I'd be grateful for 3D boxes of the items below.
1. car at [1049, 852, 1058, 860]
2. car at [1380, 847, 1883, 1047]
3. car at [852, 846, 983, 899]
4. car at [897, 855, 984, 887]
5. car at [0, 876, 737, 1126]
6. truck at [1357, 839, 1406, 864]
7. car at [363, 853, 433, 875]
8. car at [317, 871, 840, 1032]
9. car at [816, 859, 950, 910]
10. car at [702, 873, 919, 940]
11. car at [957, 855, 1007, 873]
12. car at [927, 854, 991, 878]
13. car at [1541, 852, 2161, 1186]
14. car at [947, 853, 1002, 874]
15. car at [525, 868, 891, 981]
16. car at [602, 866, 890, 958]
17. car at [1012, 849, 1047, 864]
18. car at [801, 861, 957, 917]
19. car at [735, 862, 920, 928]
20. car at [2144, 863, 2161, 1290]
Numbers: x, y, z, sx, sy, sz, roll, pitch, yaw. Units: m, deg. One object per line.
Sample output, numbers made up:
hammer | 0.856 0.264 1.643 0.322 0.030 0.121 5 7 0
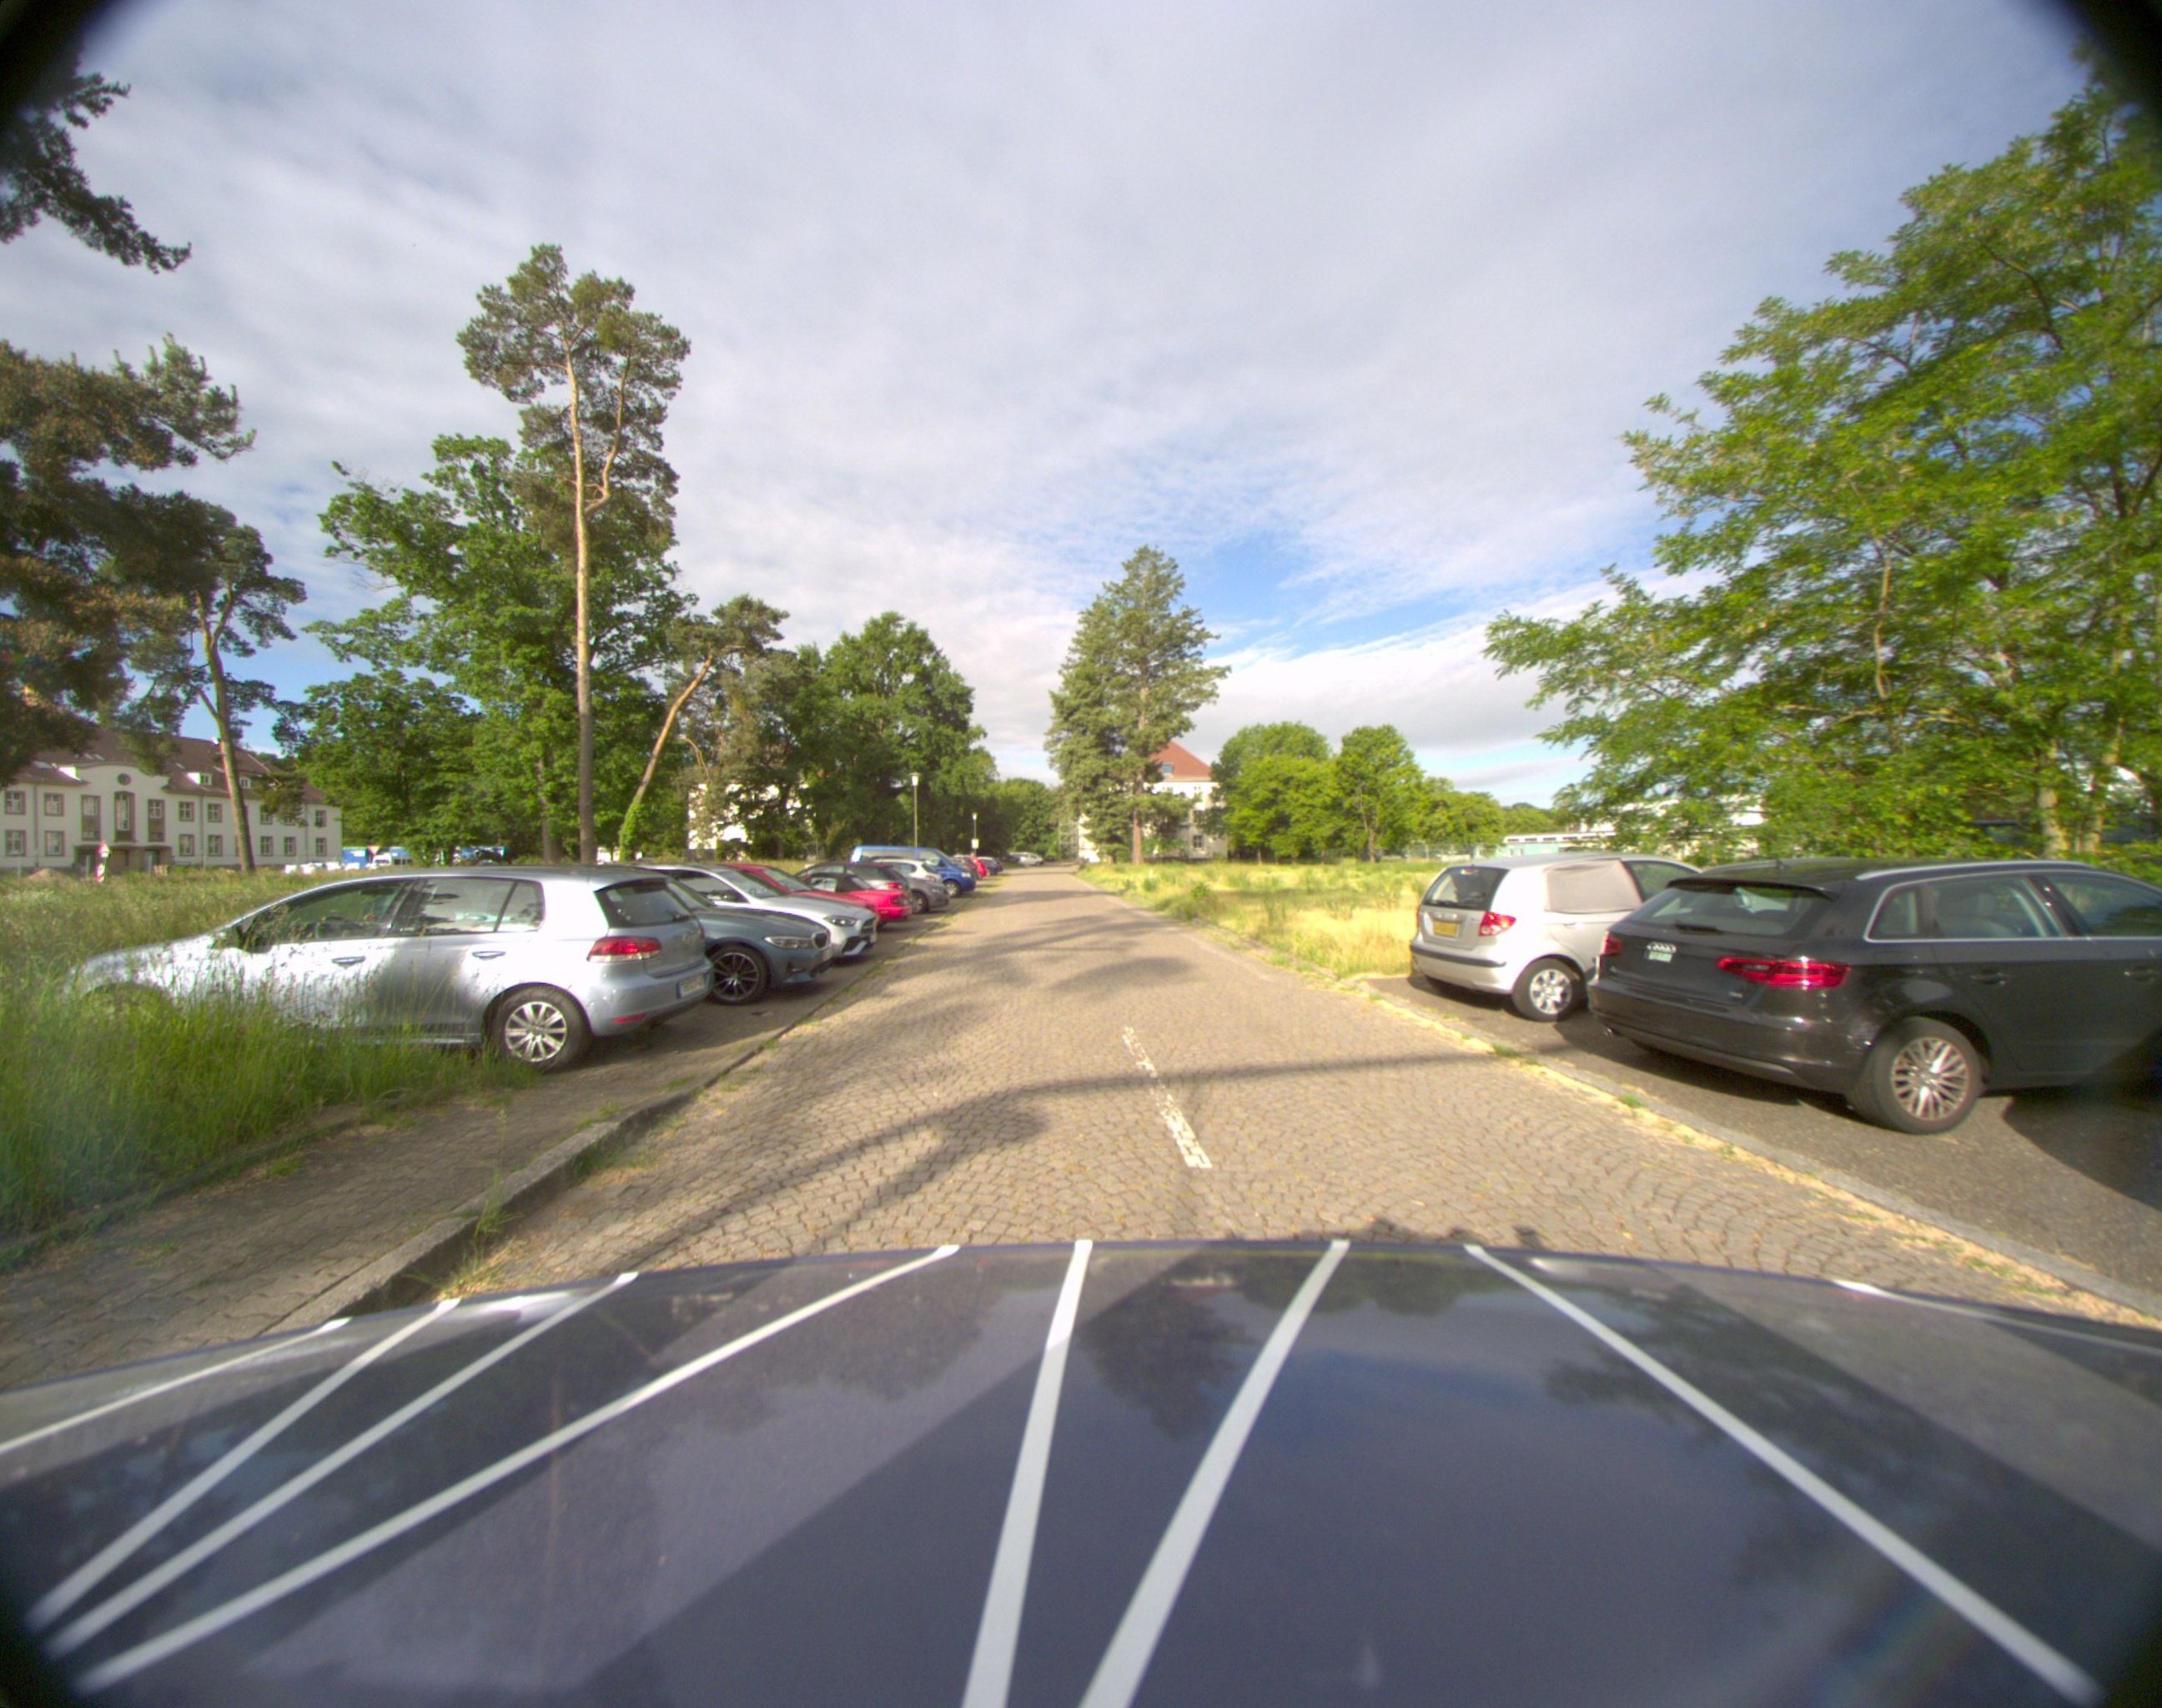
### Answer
car | -6.486 0.399 179.377 1.999 1.762 4.107 -1 1 -4
car | 5.206 0.783 7.513 3.694 1.465 1.848 -3 1 -5
car | -6.309 0.691 29.731 4.747 1.917 1.991 1 1 -5
car | -7.066 0.838 38.568 4.203 1.580 1.877 0 1 -5
car | -5.407 0.969 5.927 4.558 1.497 1.932 0 1 -6
truck | 32.530 -0.218 82.598 2.418 2.572 6.957 -1 0 -1
car | -73.378 1.047 81.780 2.167 2.286 5.960 0 0 -1
car | -5.230 0.974 8.569 4.521 1.465 1.893 0 1 -8
car | -6.261 0.944 24.376 3.885 1.521 1.807 0 1 -3
car | -5.558 1.068 15.990 3.962 1.254 1.725 0 1 -4
car | -8.263 0.818 63.781 4.036 1.442 1.782 0 1 -2
car | -7.802 0.763 48.799 3.888 1.464 1.686 0 1 -5
car | 5.421 0.824 4.868 3.840 1.421 1.858 -3 1 -5
car | -8.256 0.730 59.074 4.137 1.560 1.745 0 1 -4
car | -5.304 0.977 11.348 4.520 1.465 1.848 0 1 -4
car | -5.794 0.973 13.591 4.353 1.465 1.739 0 1 -4
car | -7.690 0.359 112.856 5.080 2.029 1.999 -1 0 -4
car | -5.627 0.953 21.556 3.962 1.459 1.830 0 1 -4
car | -6.074 0.952 18.597 3.962 1.487 1.771 0 1 -4
car | 6.147 0.716 2.215 4.134 1.591 1.857 -4 1 -8
